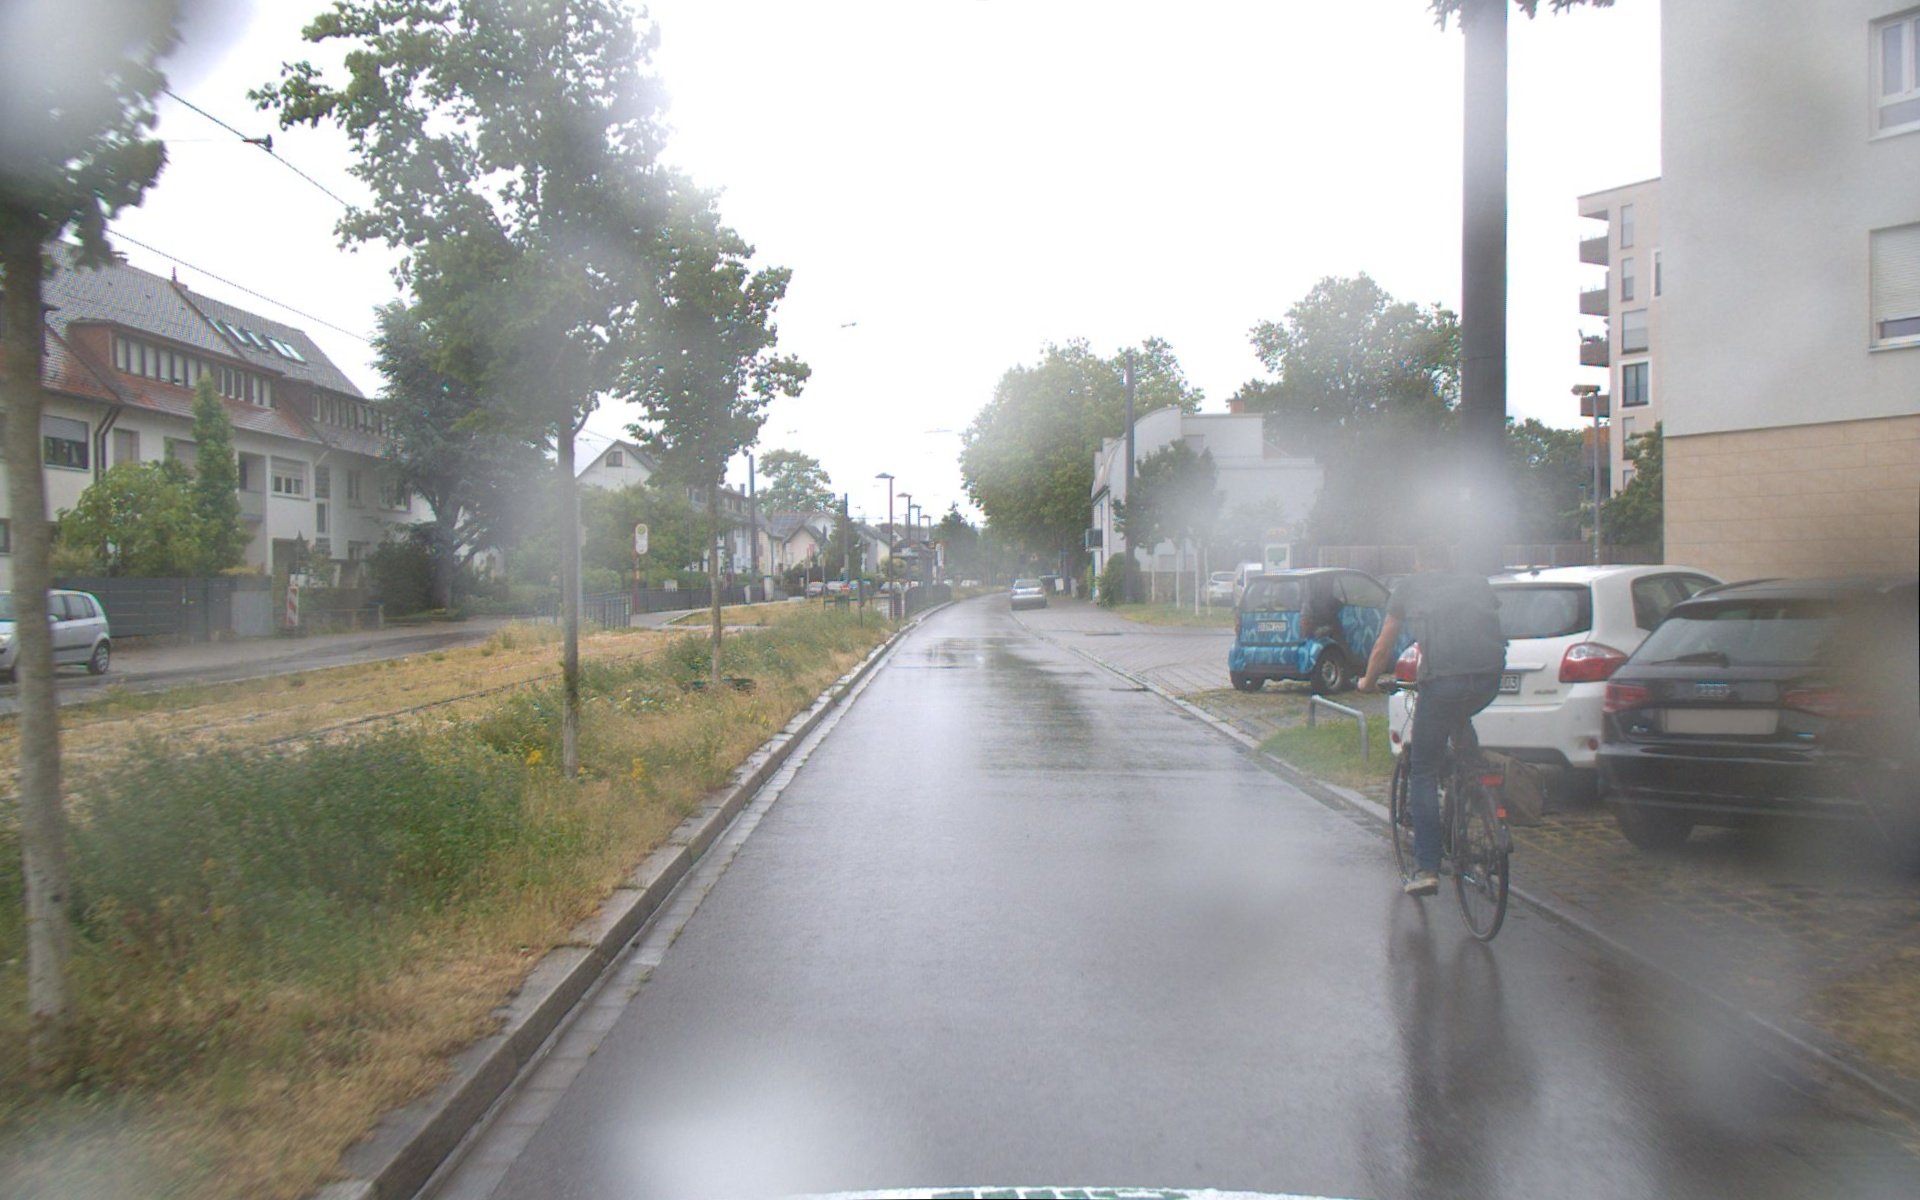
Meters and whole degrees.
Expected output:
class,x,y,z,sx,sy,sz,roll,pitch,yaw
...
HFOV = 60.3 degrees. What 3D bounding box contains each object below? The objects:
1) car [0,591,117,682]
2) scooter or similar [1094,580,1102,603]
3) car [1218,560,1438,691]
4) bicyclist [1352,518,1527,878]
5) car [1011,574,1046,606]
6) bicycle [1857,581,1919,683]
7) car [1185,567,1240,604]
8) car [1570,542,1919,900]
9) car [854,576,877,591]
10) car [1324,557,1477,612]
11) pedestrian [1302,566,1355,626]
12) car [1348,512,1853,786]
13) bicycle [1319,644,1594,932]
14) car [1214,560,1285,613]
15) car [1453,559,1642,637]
class,x,y,z,sx,sy,sz,roll,pitch,yaw
car,-16.050,0.576,27.801,1.953,1.438,3.657,0,0,-2
scooter or similar,6.721,-0.396,80.726,0.326,1.104,1.397,0,0,7
car,4.795,0.294,21.482,2.542,1.575,1.579,-1,0,-41
bicyclist,2.217,0.435,7.709,0.524,1.587,0.771,0,0,-7
car,3.376,-0.461,82.341,1.616,1.429,4.650,-4,0,2
bicycle,10.038,0.325,16.896,0.648,1.023,2.058,0,0,0
car,10.919,-0.650,71.704,1.922,1.561,4.366,0,1,3
car,5.234,0.472,9.158,3.905,1.456,1.662,-5,2,-38
car,-9.988,-1.722,175.125,1.888,1.512,4.002,0,0,5
car,12.171,-0.402,45.926,1.970,1.466,3.964,0,0,-27
pedestrian,9.543,-0.105,42.839,0.826,1.544,1.084,0,0,-29
car,4.865,0.243,12.281,4.149,1.574,1.739,-5,3,-41
bicycle,2.228,0.787,7.683,0.526,1.112,1.946,0,0,-6
car,10.318,-0.525,59.295,1.922,1.815,4.899,0,1,3
car,13.071,-0.058,36.775,4.057,1.645,1.796,0,1,-31
